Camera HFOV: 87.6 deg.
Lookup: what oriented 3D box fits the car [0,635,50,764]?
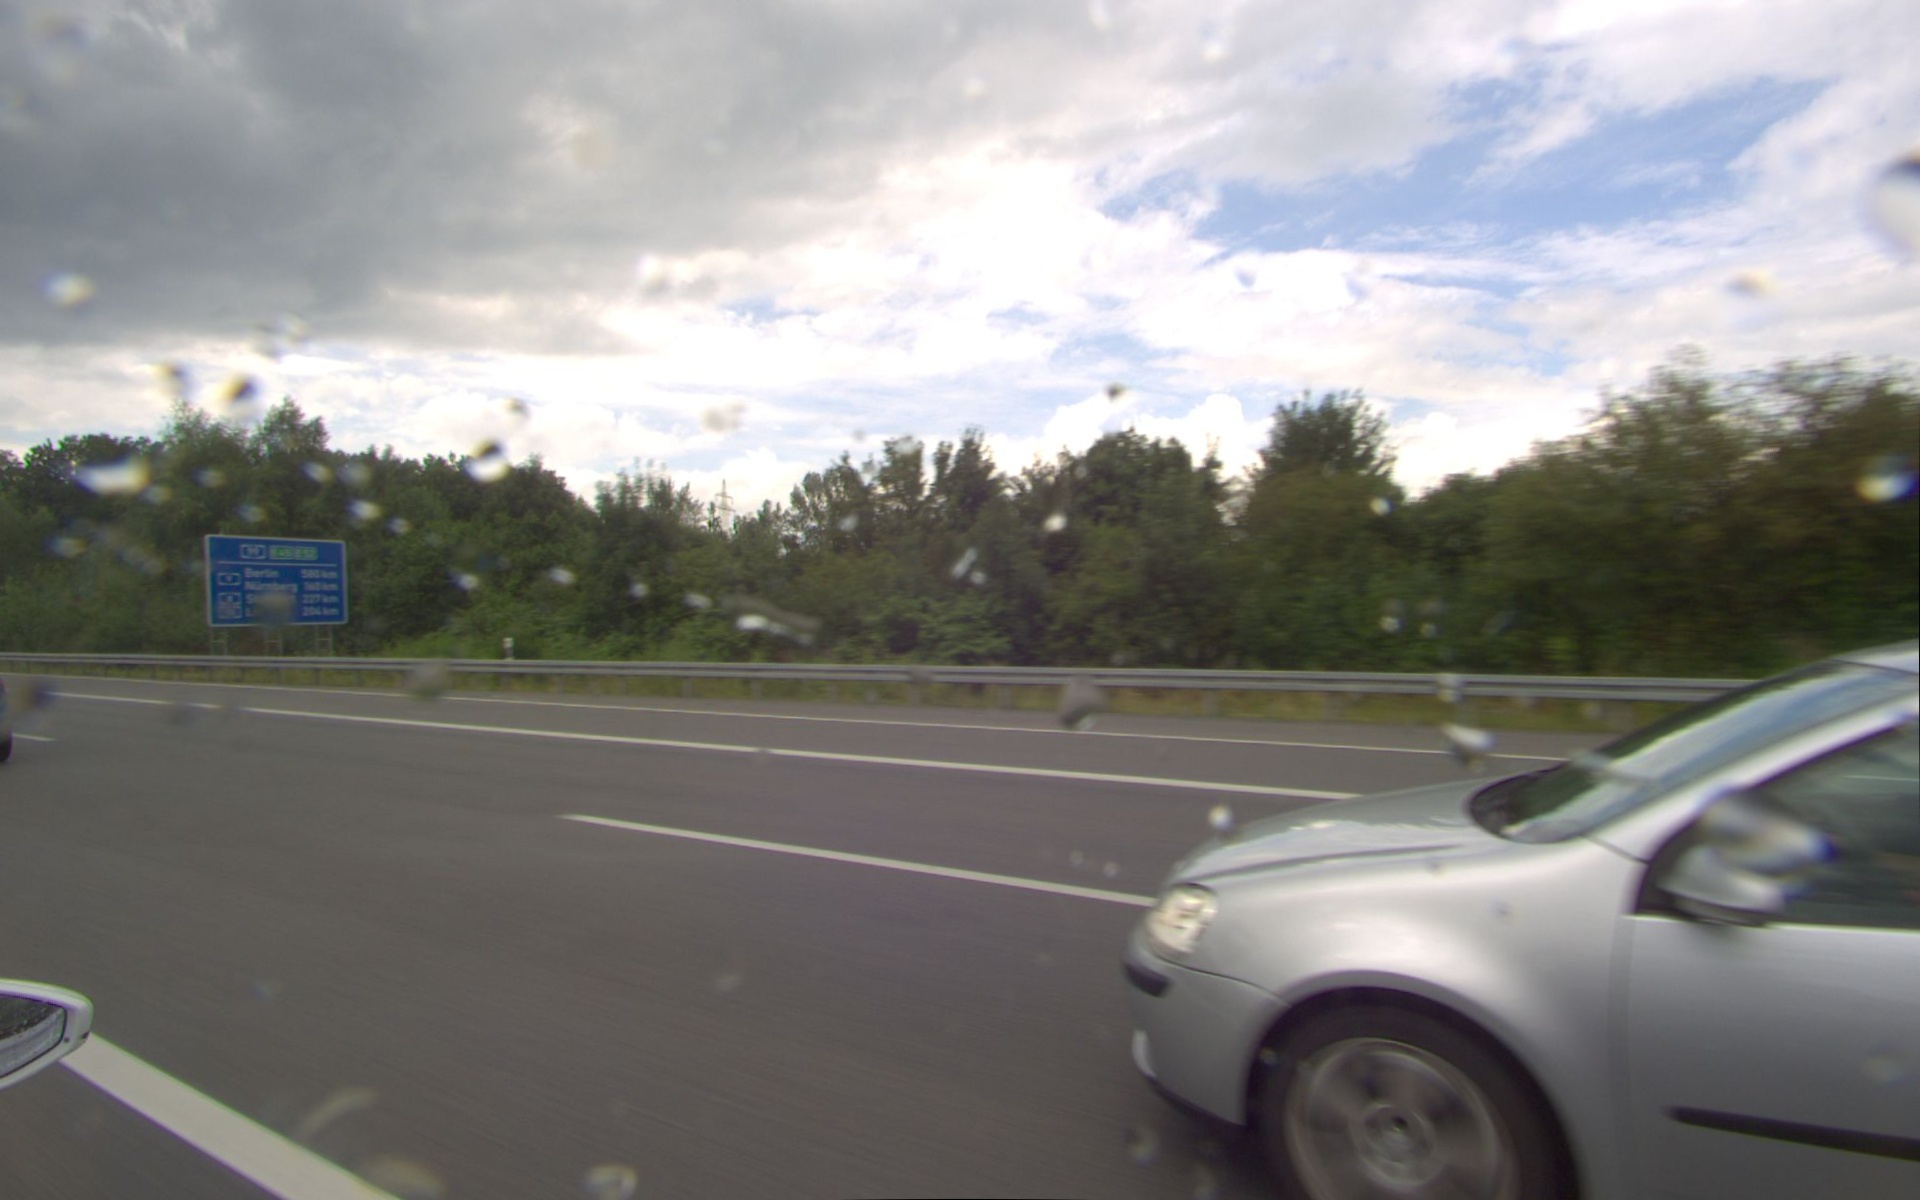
[{"bbox_3d":[-12.722,1.135,11.854,4.222,1.425,1.881,-1,-1,33],"label":"car"}]

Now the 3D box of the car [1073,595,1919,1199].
[{"bbox_3d":[2.443,0.753,2.301,3.979,1.496,1.793,-1,-1,32],"label":"car"}]

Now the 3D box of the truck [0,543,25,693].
[{"bbox_3d":[-28.631,0.506,26.785,9.710,3.757,3.126,-1,-1,33],"label":"truck"}]
